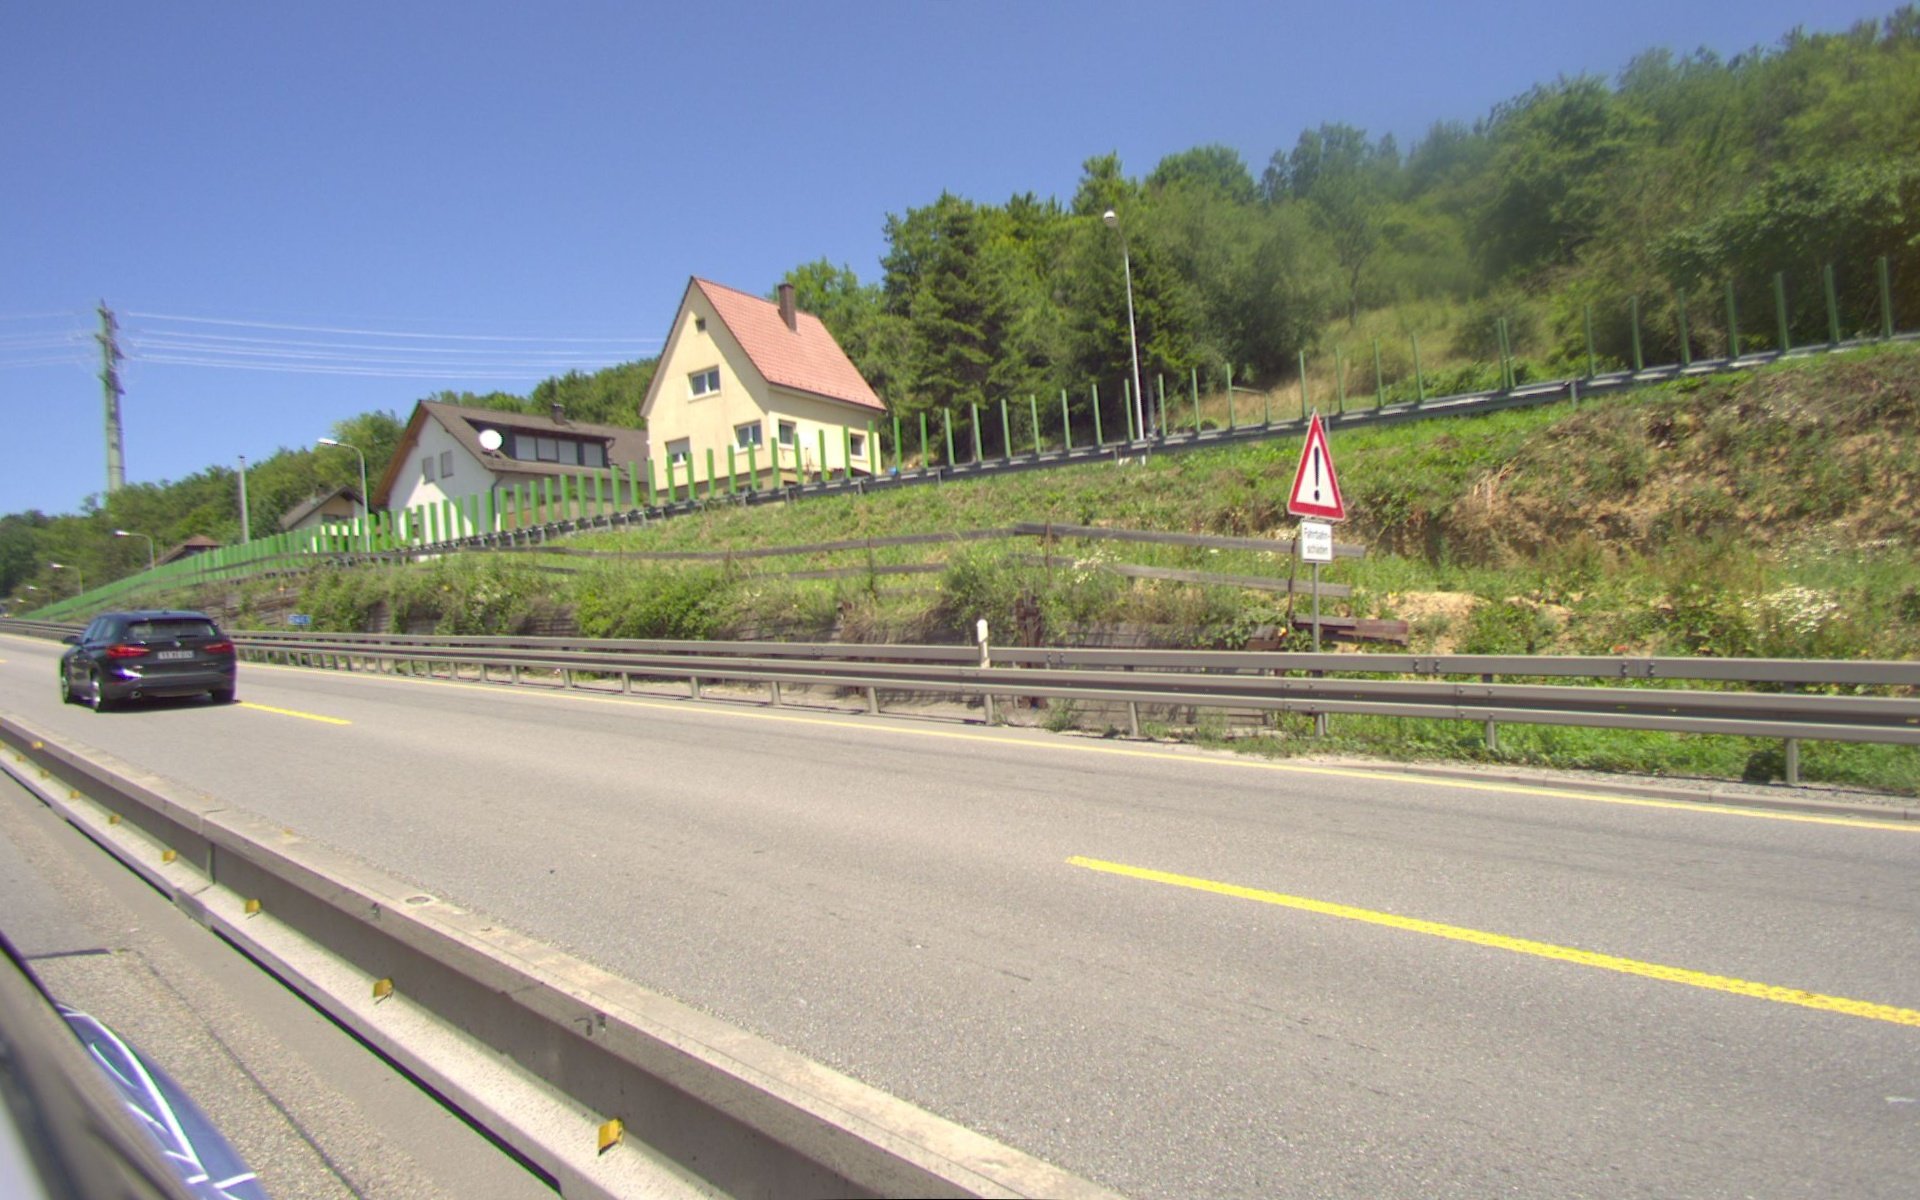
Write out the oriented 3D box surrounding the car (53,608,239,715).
[{"bbox_3d":[-13.858,0.968,17.153,4.100,1.573,1.683,-1,0,40],"label":"car"}]
